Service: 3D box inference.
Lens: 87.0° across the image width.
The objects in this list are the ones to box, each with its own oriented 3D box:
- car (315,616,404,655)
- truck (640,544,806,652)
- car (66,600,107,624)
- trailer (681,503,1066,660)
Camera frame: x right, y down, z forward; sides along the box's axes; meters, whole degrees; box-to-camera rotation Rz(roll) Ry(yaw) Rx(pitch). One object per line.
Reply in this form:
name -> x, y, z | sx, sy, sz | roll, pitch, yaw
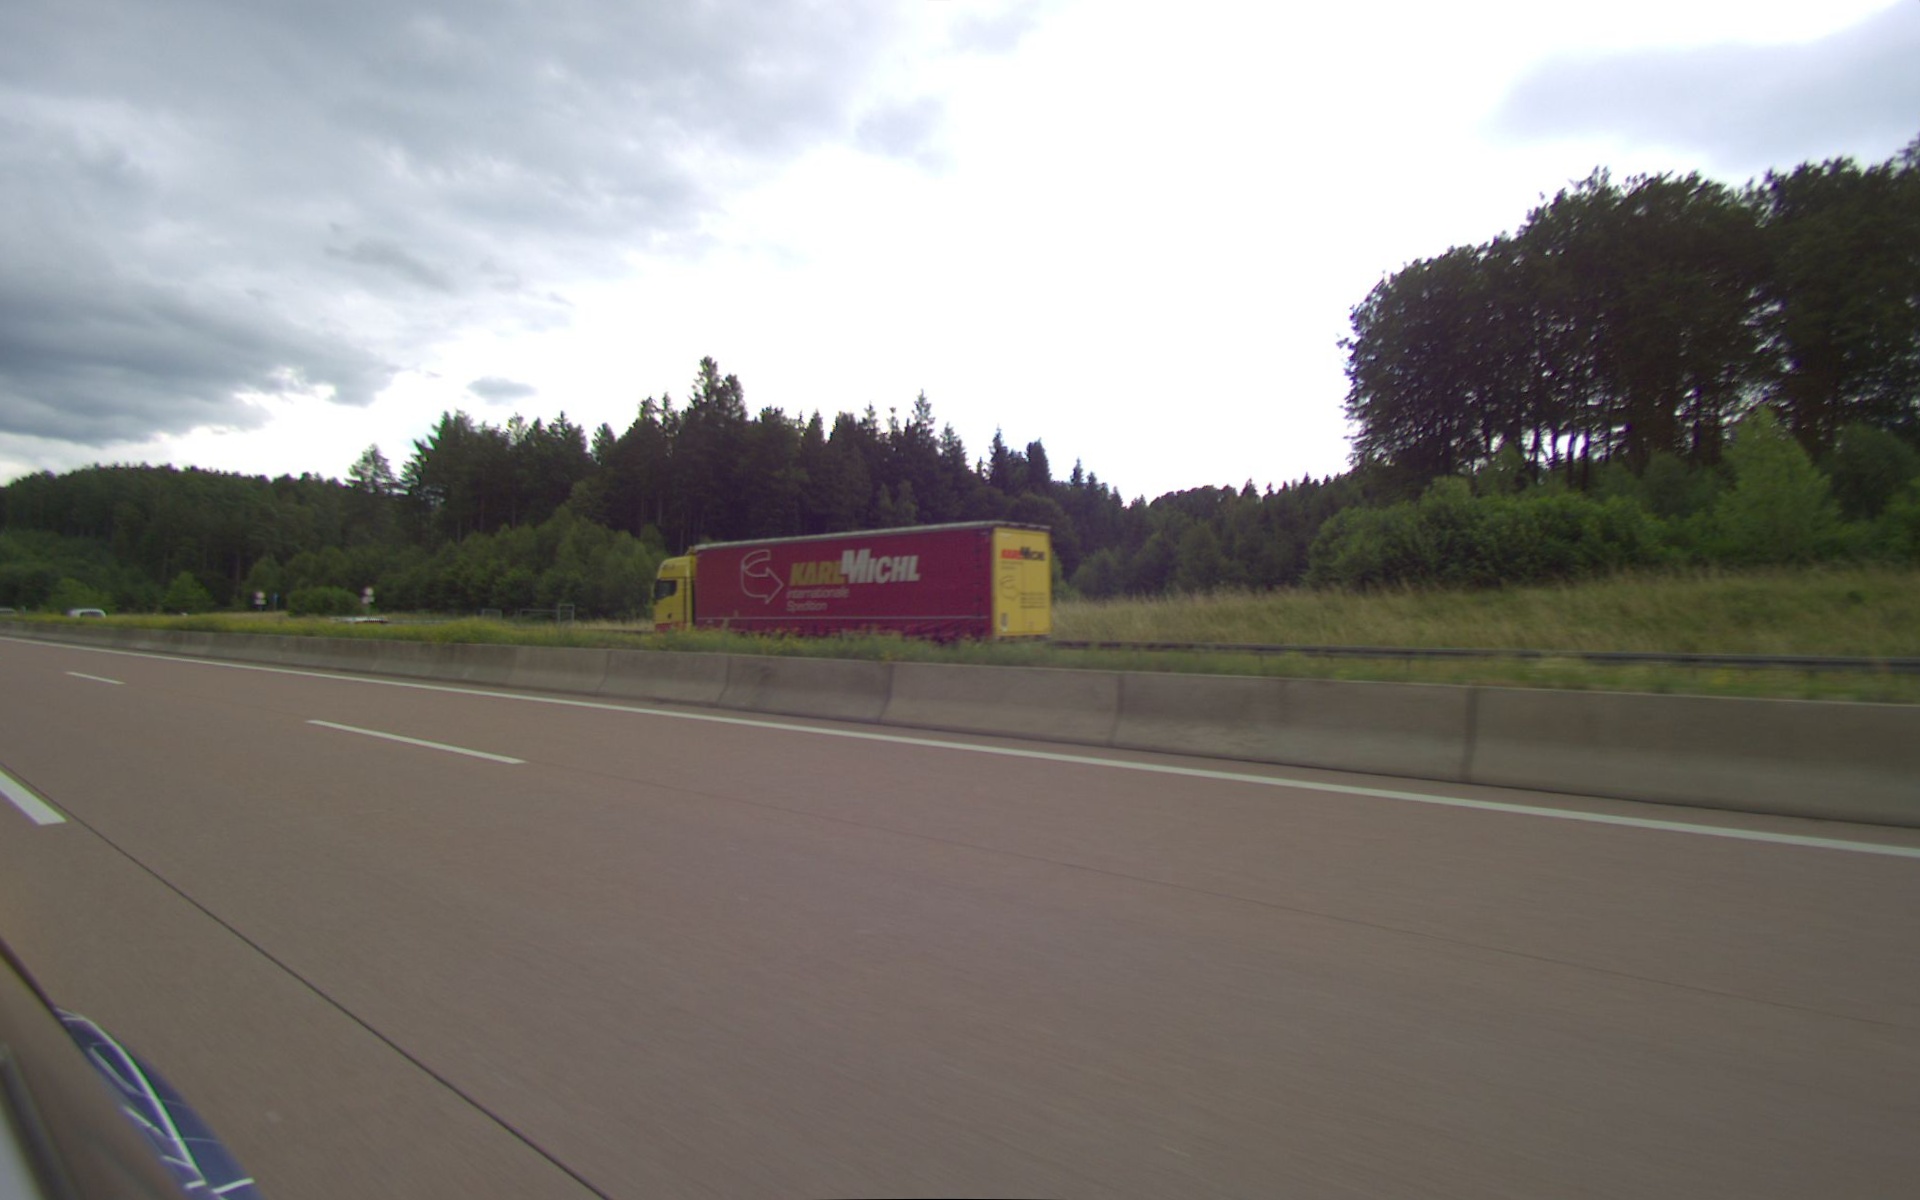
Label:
car -> -22.970, 1.316, 38.646 | 4.028, 1.413, 1.723 | -1, -1, 40
truck -> -8.698, -0.040, 36.802 | 6.056, 3.609, 2.980 | -1, -1, 42
car -> -59.682, 0.808, 69.136 | 3.409, 1.579, 1.552 | 1, 1, 40
trailer -> -3.463, -0.373, 32.089 | 14.526, 4.072, 3.001 | -1, -1, 42
